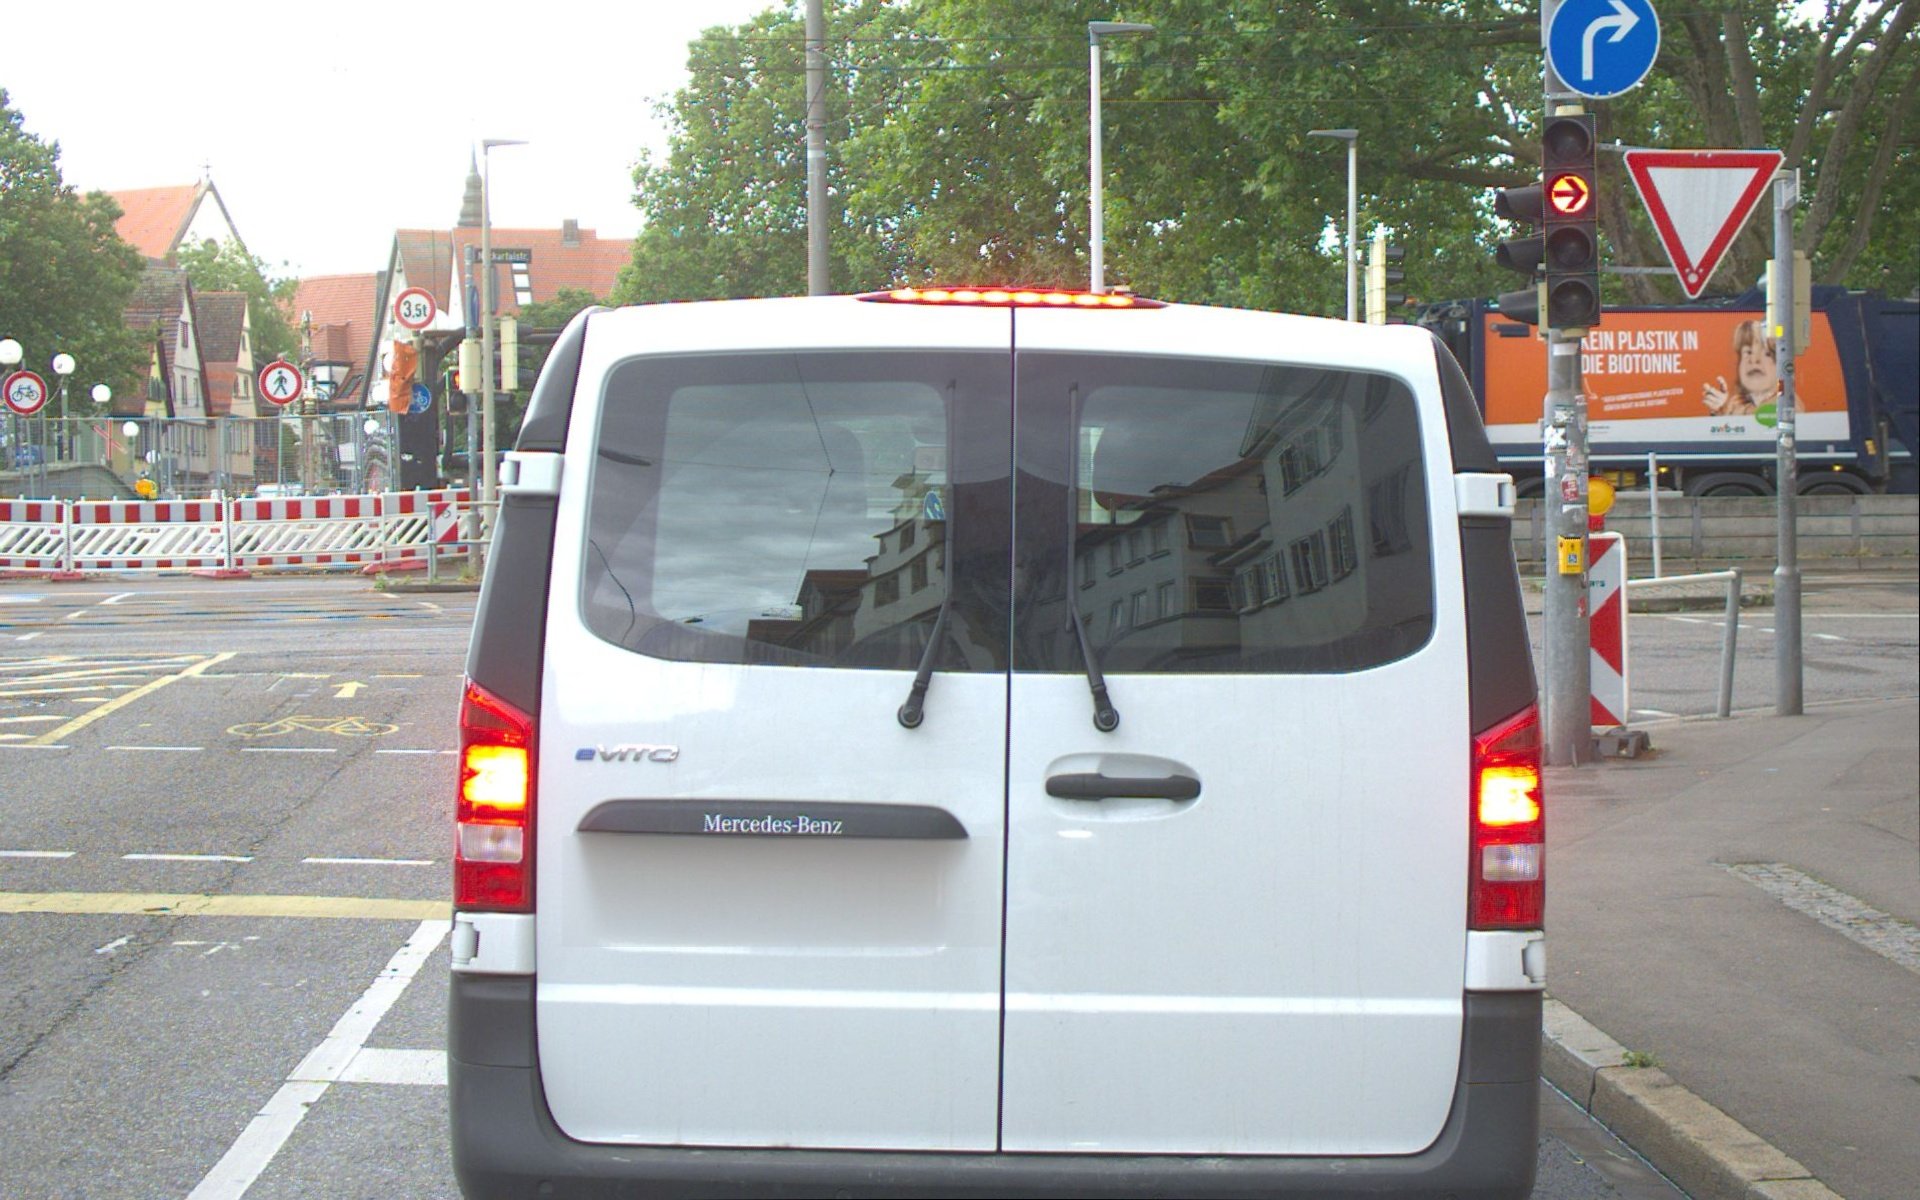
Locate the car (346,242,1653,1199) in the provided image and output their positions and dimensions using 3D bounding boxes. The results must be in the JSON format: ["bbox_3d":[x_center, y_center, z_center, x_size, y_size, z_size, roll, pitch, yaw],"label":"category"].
[{"bbox_3d":[-0.046,0.320,7.410,1.993,1.916,4.250,1,3,-3],"label":"car"}]

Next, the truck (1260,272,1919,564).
[{"bbox_3d":[9.180,-2.344,45.213,10.182,3.683,2.272,0,1,-9],"label":"truck"}]
